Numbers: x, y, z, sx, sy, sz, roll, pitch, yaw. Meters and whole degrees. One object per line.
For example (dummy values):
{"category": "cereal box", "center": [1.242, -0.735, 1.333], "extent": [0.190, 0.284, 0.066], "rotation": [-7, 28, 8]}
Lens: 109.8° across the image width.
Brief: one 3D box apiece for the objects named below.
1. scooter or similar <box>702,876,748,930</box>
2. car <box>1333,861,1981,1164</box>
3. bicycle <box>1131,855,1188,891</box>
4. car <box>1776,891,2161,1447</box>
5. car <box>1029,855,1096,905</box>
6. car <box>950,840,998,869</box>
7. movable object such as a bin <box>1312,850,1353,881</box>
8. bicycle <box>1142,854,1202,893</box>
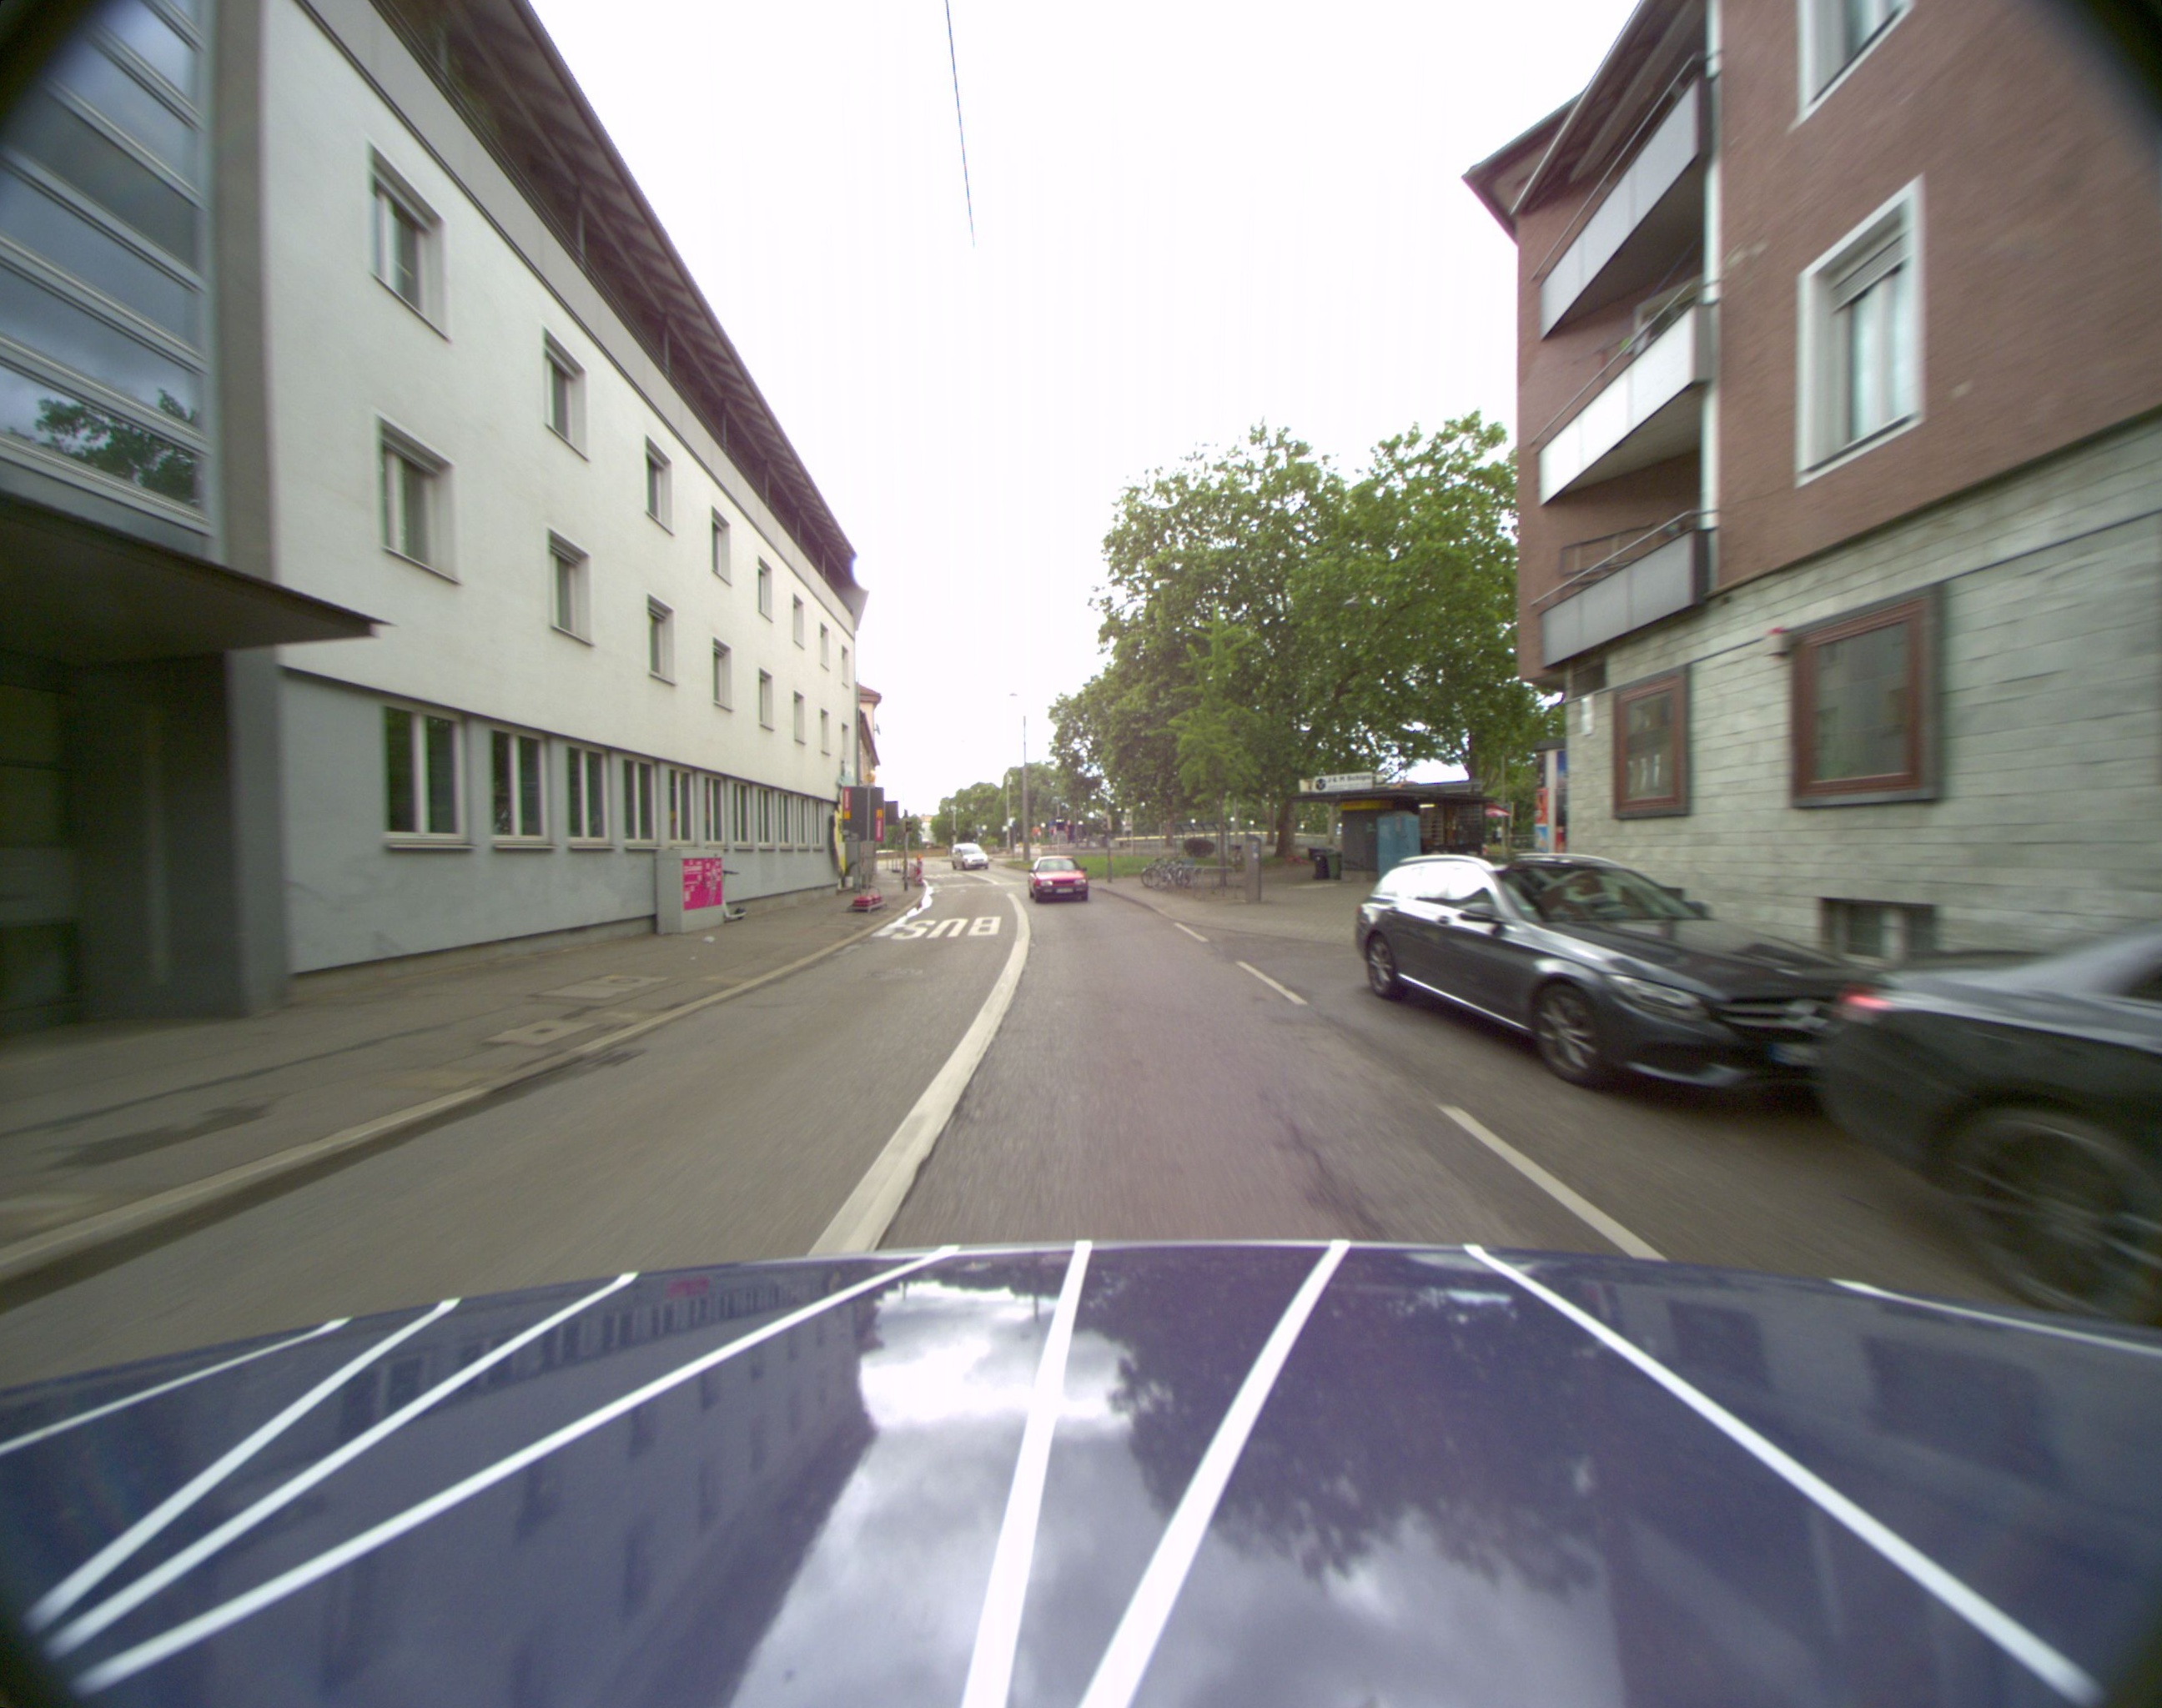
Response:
{"category": "scooter or similar", "center": [-7.836, 1.051, 16.774], "extent": [0.429, 1.091, 1.438], "rotation": [1, 0, -4]}
{"category": "car", "center": [3.802, 0.855, 6.294], "extent": [1.834, 1.446, 4.583], "rotation": [-1, 1, -1]}
{"category": "bicycle", "center": [2.754, 0.658, 26.597], "extent": [1.874, 1.107, 0.577], "rotation": [-3, 2, -1]}
{"category": "car", "center": [3.851, 0.938, 0.864], "extent": [1.833, 1.446, 4.921], "rotation": [-1, 1, 3]}
{"category": "car", "center": [-0.687, 0.801, 24.839], "extent": [1.851, 1.414, 4.171], "rotation": [-2, 0, -6]}
{"category": "car", "center": [-7.763, -0.032, 54.733], "extent": [2.076, 1.776, 4.446], "rotation": [-5, 4, -26]}
{"category": "movable object such as a bin", "center": [8.551, 0.385, 25.832], "extent": [0.674, 0.959, 1.076], "rotation": [-7, 2, -41]}
{"category": "bicycle", "center": [3.037, 0.633, 25.271], "extent": [1.809, 1.170, 0.723], "rotation": [-4, 2, -22]}
